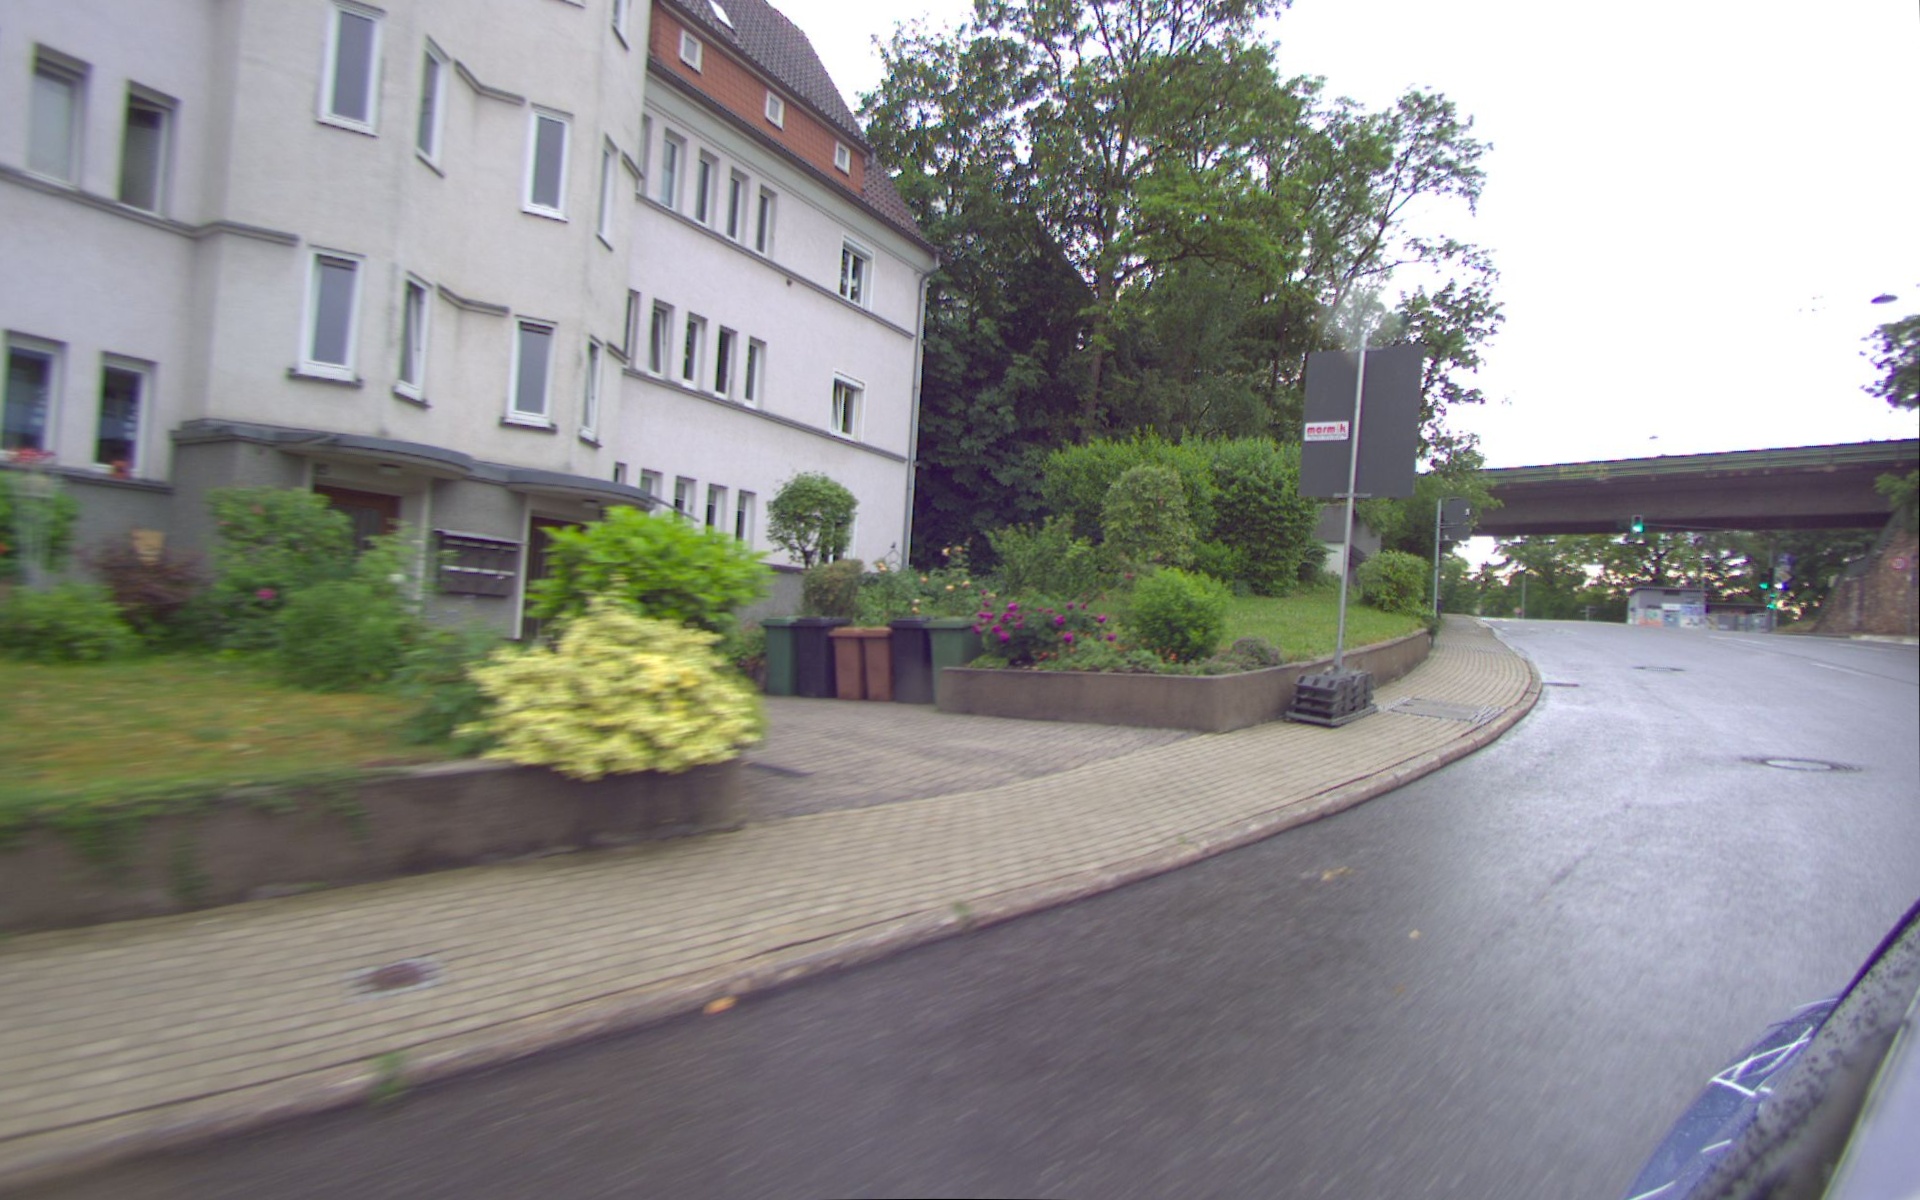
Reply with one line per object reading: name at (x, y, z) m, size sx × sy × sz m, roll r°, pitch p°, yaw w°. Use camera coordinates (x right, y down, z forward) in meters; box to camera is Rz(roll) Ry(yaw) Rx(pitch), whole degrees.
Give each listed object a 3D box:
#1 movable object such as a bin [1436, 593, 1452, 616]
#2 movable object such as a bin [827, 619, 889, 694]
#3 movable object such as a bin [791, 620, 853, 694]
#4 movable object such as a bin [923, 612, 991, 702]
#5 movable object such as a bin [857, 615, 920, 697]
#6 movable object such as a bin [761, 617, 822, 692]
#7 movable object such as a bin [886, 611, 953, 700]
movable object such as a bin at (17.079, 0.160, 35.725) m, size 0.502 × 0.798 × 0.498 m, roll 0°, pitch 1°, yaw 23°
movable object such as a bin at (-1.327, 0.724, 13.197) m, size 0.481 × 0.909 × 0.681 m, roll 0°, pitch 1°, yaw 35°
movable object such as a bin at (-1.812, 0.739, 13.353) m, size 0.481 × 0.909 × 0.681 m, roll 0°, pitch 1°, yaw 35°
movable object such as a bin at (-0.030, 0.668, 12.198) m, size 0.528 × 1.026 × 0.681 m, roll 0°, pitch 1°, yaw 35°
movable object such as a bin at (-0.910, 0.693, 12.909) m, size 0.481 × 0.982 × 0.681 m, roll 0°, pitch 1°, yaw 35°
movable object such as a bin at (-2.274, 0.723, 13.707) m, size 0.481 × 0.955 × 0.681 m, roll 0°, pitch 1°, yaw 35°
movable object such as a bin at (-0.492, 0.668, 12.506) m, size 0.528 × 1.026 × 0.681 m, roll 0°, pitch 1°, yaw 35°
